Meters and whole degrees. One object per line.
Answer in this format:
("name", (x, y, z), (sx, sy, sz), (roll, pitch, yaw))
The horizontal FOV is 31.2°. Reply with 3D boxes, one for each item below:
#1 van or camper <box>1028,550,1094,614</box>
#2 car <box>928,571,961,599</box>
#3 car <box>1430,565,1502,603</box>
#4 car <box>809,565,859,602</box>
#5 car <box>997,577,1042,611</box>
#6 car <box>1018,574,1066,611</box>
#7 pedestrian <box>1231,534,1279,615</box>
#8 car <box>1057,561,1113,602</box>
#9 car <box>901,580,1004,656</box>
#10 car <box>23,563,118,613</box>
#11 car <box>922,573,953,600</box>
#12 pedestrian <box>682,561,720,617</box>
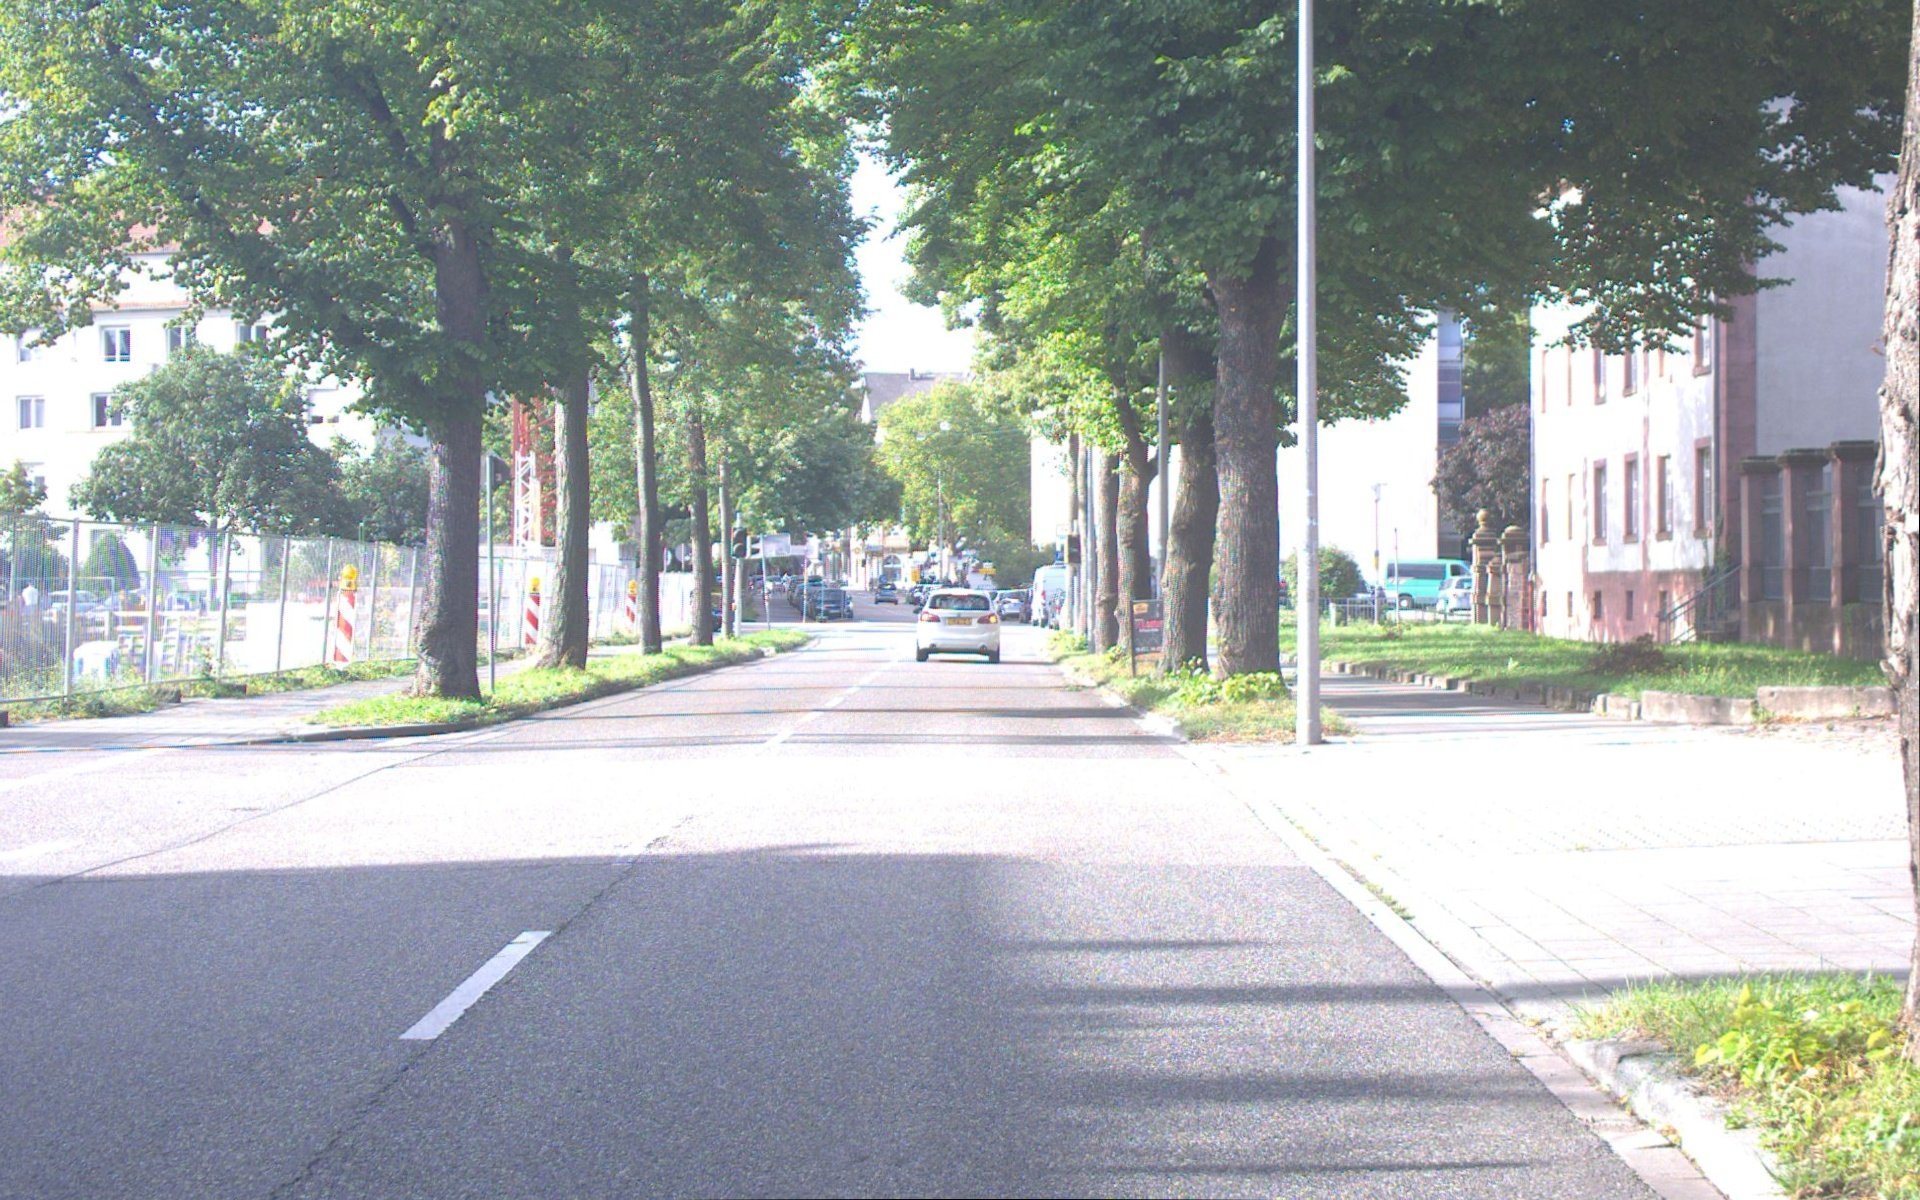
("van or camper", (4.166, -0.762, 143.048), (2.209, 2.598, 5.372), (-1, 1, -4))
("car", (-0.966, -0.947, 217.853), (1.993, 1.749, 4.000), (1, 0, 1))
("car", (19.397, -0.621, 131.869), (1.993, 1.437, 4.000), (-1, 1, -3))
("car", (-5.862, -0.775, 159.492), (1.993, 1.634, 4.001), (-1, 1, -6))
("car", (2.846, -0.284, 164.548), (1.993, 1.568, 4.000), (-1, 1, -1))
("car", (3.674, -0.345, 153.985), (1.993, 1.568, 4.000), (-1, 1, -1))
("pedestrian", (5.886, -0.510, 68.598), (0.814, 1.585, 0.769), (-2, 0, -1))
("car", (4.667, -0.689, 128.827), (2.015, 1.470, 4.802), (-1, 0, 1))
("car", (-0.193, 0.382, 74.531), (1.993, 1.549, 4.274), (1, 0, -3))
("car", (-36.017, -0.495, 139.236), (1.995, 2.007, 3.997), (0, 0, 15))
("car", (-1.516, -0.886, 229.973), (1.993, 1.749, 4.000), (1, 0, 1))
("pedestrian", (-7.982, -0.334, 105.845), (1.006, 1.722, 1.178), (1, -1, -12))
